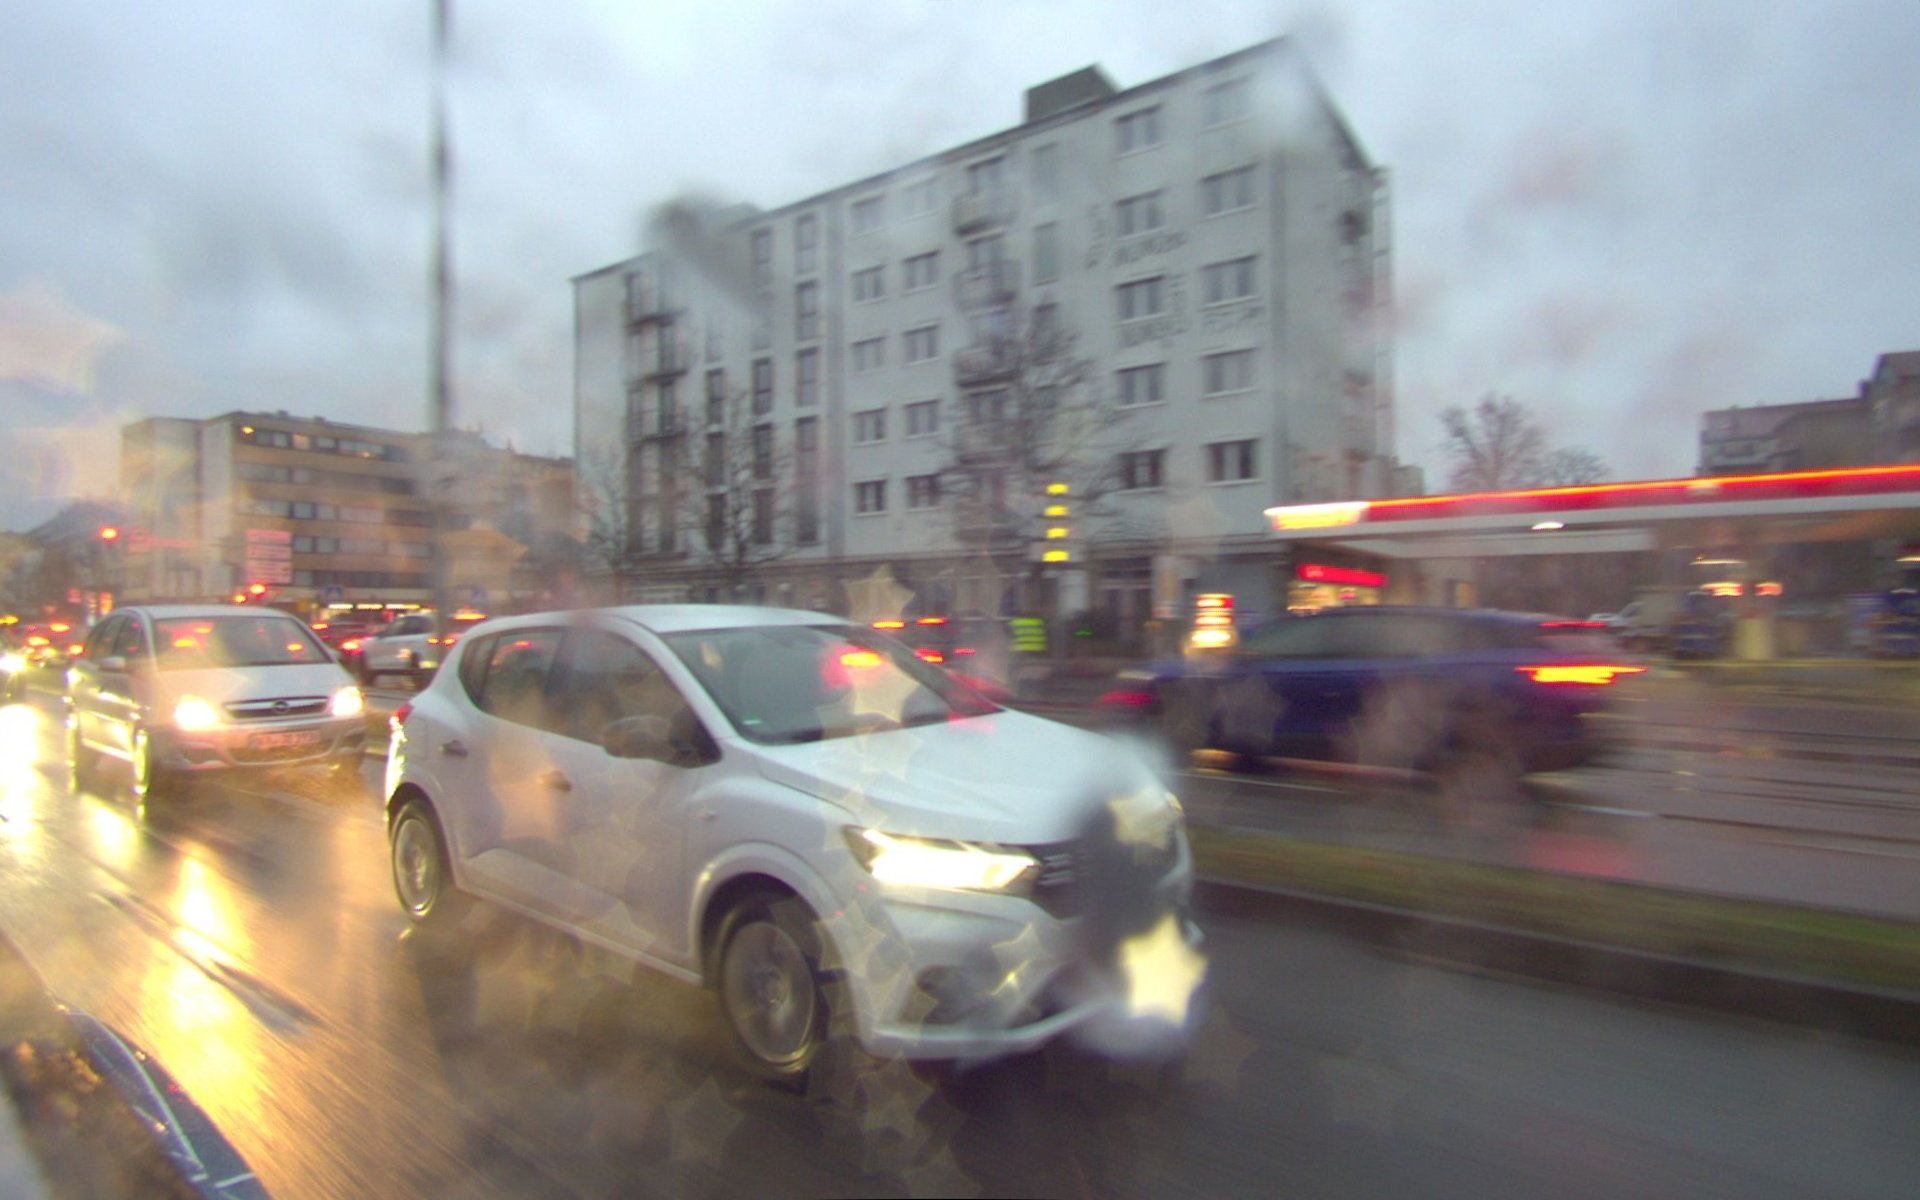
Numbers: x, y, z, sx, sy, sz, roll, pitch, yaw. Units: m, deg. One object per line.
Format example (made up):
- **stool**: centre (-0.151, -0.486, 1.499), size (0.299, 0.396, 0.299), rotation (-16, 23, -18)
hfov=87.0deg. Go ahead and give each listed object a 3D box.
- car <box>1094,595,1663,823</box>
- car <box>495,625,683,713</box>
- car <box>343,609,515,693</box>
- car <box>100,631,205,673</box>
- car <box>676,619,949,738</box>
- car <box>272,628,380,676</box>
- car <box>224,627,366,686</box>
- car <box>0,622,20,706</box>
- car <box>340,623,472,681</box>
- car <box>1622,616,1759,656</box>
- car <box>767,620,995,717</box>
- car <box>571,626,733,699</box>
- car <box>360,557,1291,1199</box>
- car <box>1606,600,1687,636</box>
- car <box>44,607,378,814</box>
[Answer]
- **car**: centre (3.645, 0.865, 9.516), size (4.660, 1.643, 1.627), rotation (-2, -3, 43)
- **car**: centre (-7.099, 1.243, 19.195), size (3.998, 1.498, 1.628), rotation (-2, -3, 41)
- **car**: centre (-12.599, 1.171, 23.917), size (4.527, 1.796, 1.943), rotation (-2, -3, 38)
- **car**: centre (-28.975, 1.840, 36.274), size (4.527, 1.397, 1.944), rotation (-2, -2, 38)
- **car**: centre (-2.237, 1.057, 14.675), size (4.142, 1.498, 1.628), rotation (-2, -3, 41)
- **car**: centre (-22.150, 1.789, 35.301), size (4.188, 1.580, 1.875), rotation (-2, -3, 38)
- **car**: centre (-18.439, 1.524, 27.990), size (4.527, 1.526, 1.944), rotation (-2, -3, 38)
- **car**: centre (-19.791, 1.212, 19.575), size (3.994, 1.556, 1.732), rotation (-1, -2, 38)
- **car**: centre (-17.124, 1.575, 31.184), size (4.527, 1.652, 1.944), rotation (-2, -3, 38)
- **car**: centre (26.982, 1.318, 37.507), size (3.992, 1.391, 1.938), rotation (-1, -1, 36)
- **car**: centre (-1.530, 1.184, 18.402), size (4.278, 1.579, 1.628), rotation (-2, -3, 41)
- **car**: centre (-6.989, 1.366, 22.776), size (3.998, 1.498, 1.628), rotation (-2, -3, 41)
- **car**: centre (-0.873, 0.717, 4.273), size (3.996, 1.498, 1.610), rotation (-2, -2, 40)
- **car**: centre (41.764, 1.116, 61.633), size (3.991, 2.129, 1.976), rotation (-1, -1, 36)
- **car**: centre (-7.220, 0.875, 9.602), size (4.106, 1.560, 1.629), rotation (-1, -1, 40)
